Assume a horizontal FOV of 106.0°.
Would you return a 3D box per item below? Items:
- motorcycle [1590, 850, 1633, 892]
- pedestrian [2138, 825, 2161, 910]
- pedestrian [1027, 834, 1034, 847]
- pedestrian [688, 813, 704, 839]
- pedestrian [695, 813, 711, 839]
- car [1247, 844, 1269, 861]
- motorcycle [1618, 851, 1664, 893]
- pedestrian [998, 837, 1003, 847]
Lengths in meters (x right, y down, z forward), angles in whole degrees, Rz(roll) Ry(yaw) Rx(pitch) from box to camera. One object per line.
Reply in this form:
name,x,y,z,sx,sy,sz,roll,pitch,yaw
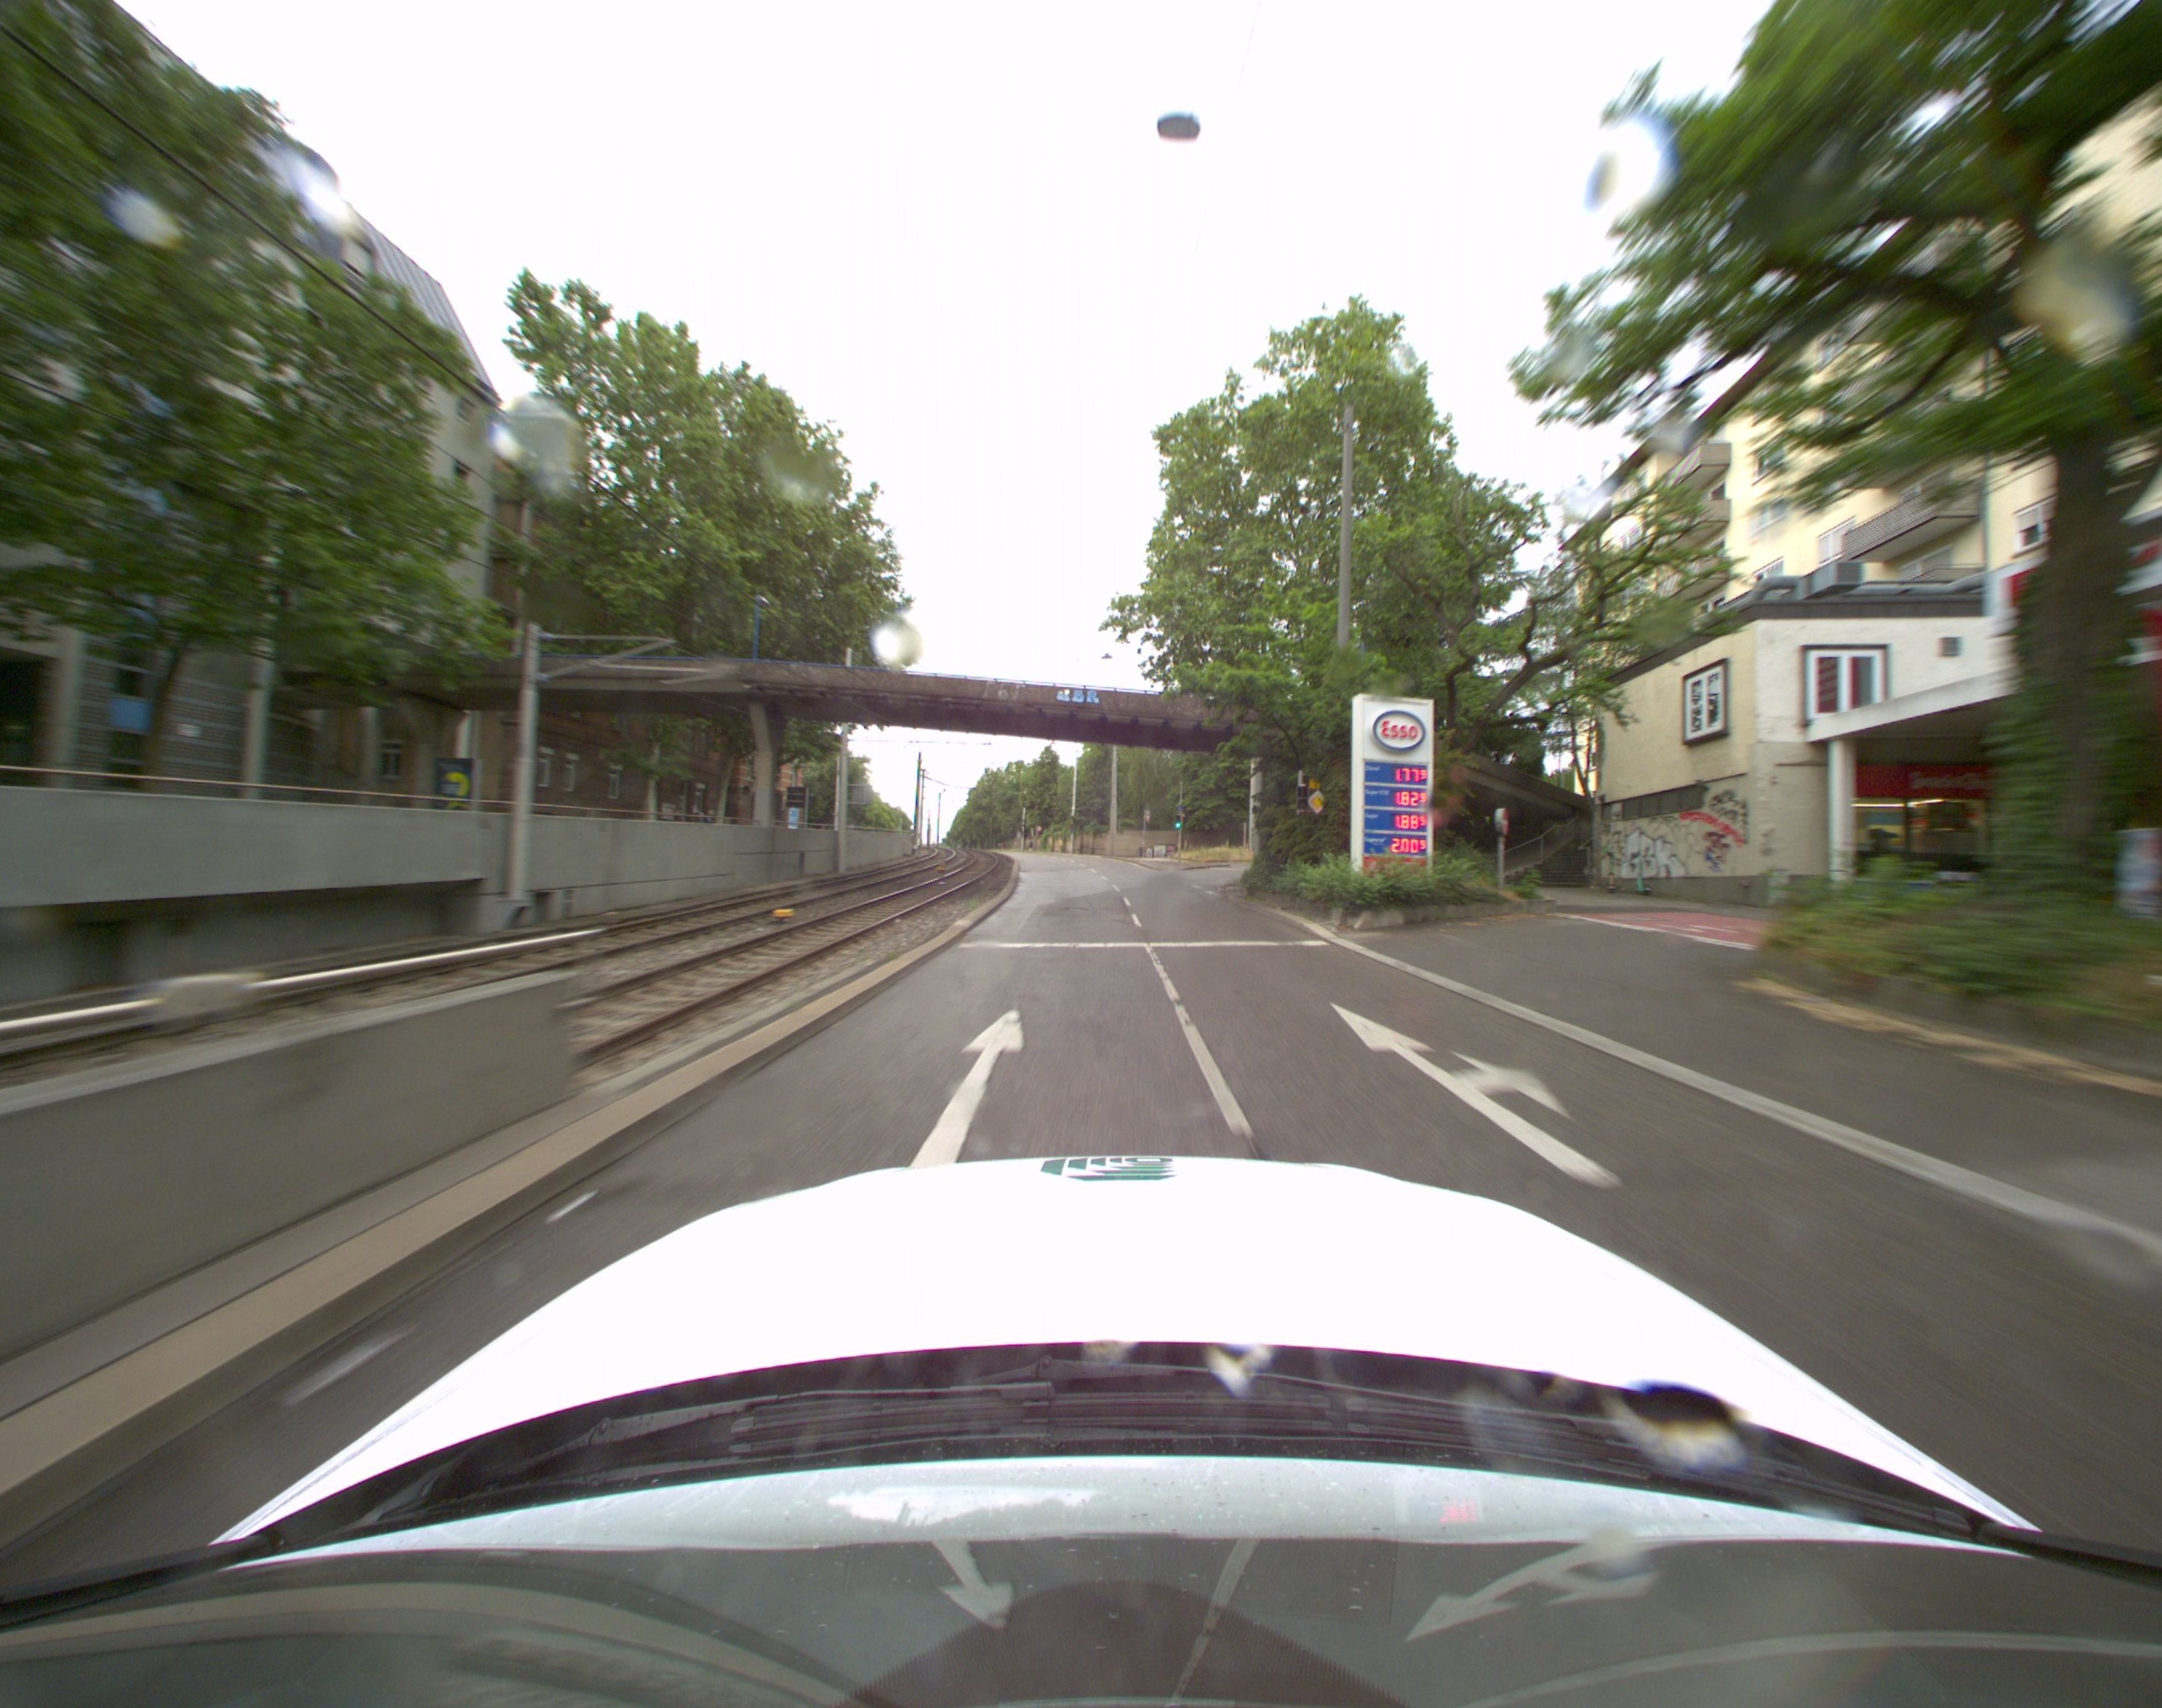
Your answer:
motorcycle,16.224,0.497,24.960,0.530,1.190,1.770,0,1,13
pedestrian,24.168,0.309,18.122,0.689,1.870,0.666,4,-1,-30
pedestrian,-7.055,-1.872,114.097,0.720,1.850,0.780,3,-1,-11
pedestrian,-24.304,-1.778,51.411,0.589,1.624,0.724,0,1,9
pedestrian,-23.622,-1.736,50.938,0.589,1.624,0.724,0,1,9
car,15.183,-0.119,69.791,1.741,1.406,4.014,1,0,13
motorcycle,16.761,0.522,24.410,0.530,1.190,1.770,0,1,13
pedestrian,-14.001,-2.099,140.892,0.720,1.687,0.726,3,-1,-11
